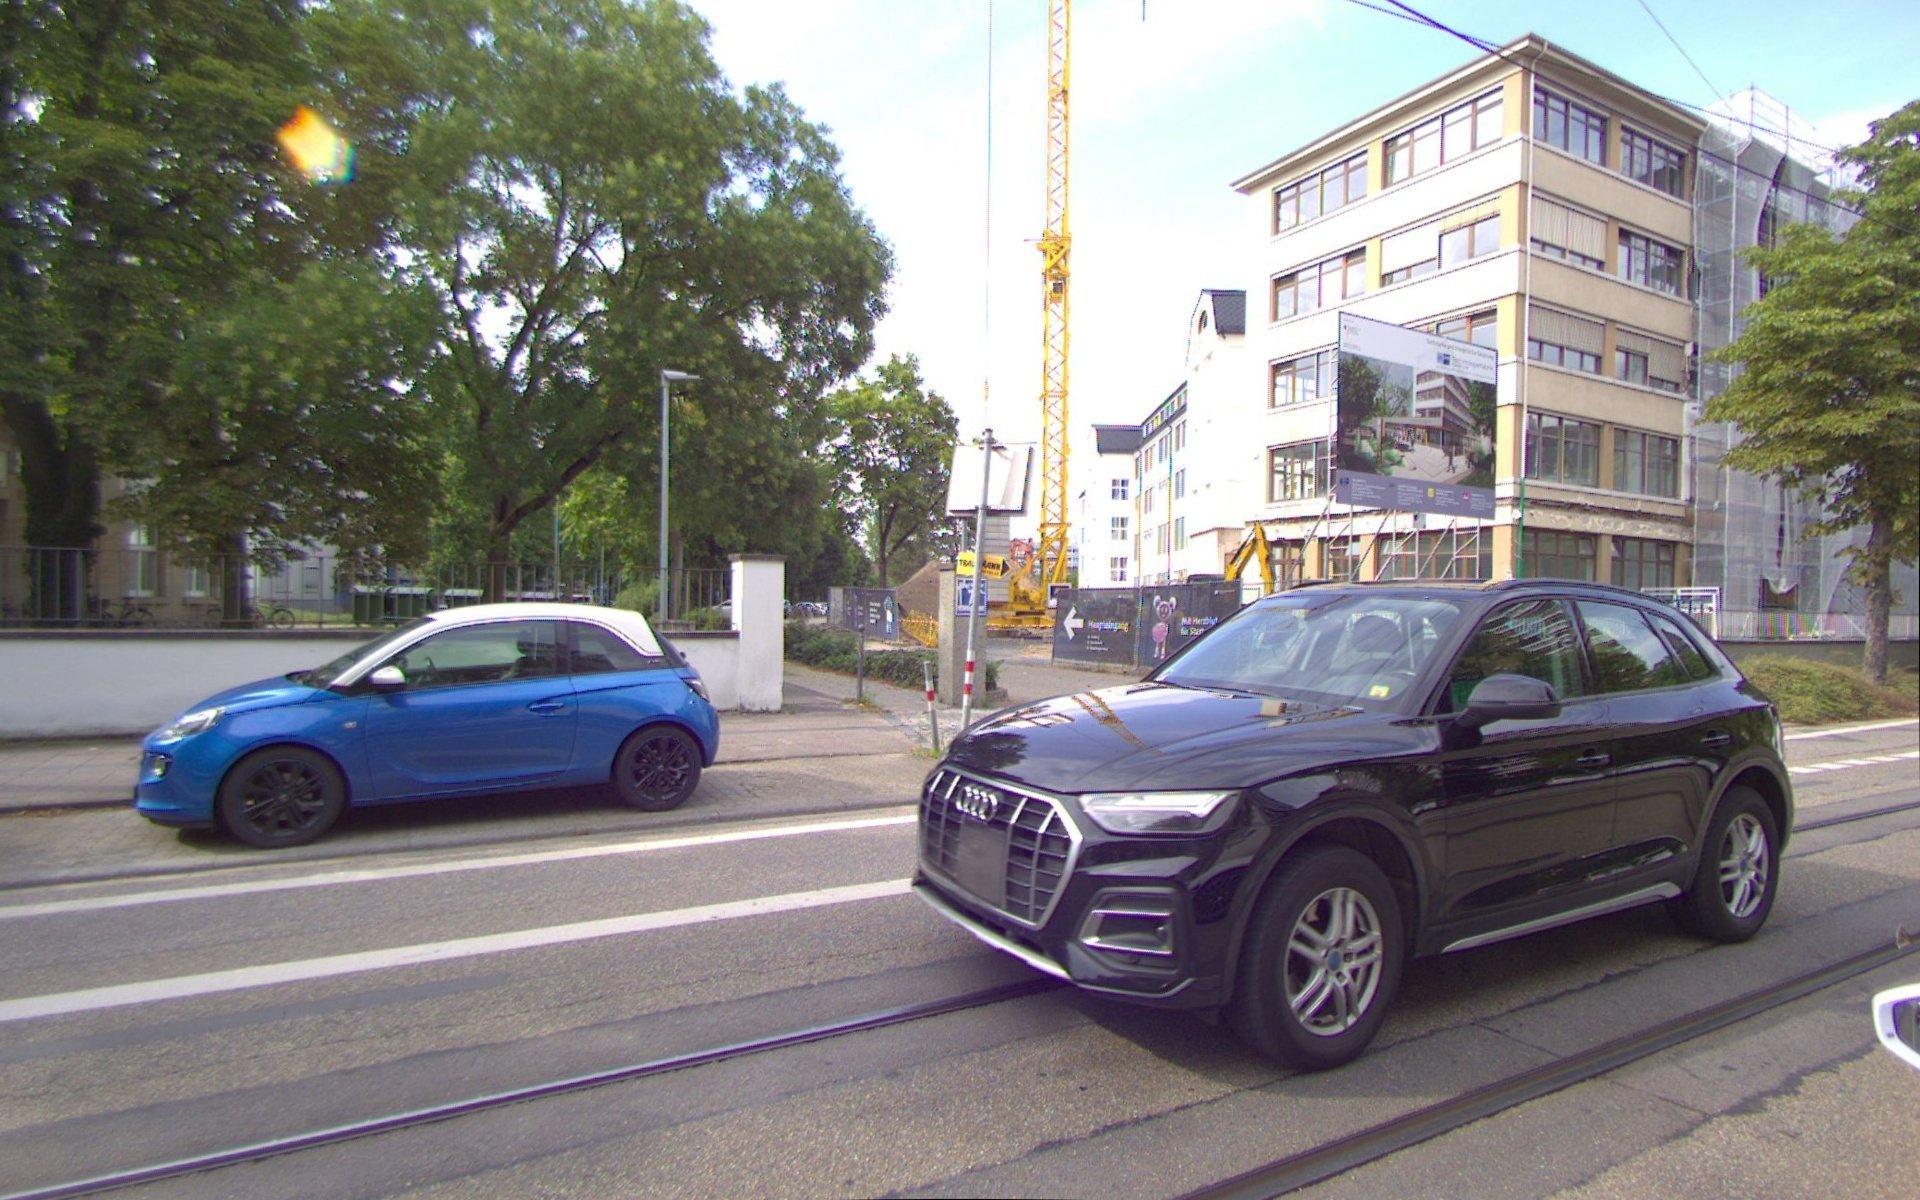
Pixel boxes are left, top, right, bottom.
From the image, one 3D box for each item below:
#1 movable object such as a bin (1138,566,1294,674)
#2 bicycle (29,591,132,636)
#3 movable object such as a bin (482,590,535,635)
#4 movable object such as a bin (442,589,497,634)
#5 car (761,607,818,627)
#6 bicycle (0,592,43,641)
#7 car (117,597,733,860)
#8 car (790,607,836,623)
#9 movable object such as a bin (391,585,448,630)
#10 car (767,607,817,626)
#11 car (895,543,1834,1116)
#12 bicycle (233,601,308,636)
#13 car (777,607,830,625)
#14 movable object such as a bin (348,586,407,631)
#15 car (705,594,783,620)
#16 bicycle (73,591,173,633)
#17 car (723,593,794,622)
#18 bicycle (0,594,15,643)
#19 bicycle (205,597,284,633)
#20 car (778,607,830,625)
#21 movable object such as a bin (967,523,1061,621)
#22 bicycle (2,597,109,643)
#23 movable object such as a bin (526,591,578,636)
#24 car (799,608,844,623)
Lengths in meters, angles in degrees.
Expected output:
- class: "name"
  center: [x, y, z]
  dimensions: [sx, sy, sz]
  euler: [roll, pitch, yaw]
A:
- class: "movable object such as a bin"
  center: [6.281, 0.480, 24.993]
  dimensions: [2.459, 2.475, 3.048]
  euler: [2, 0, -19]
- class: "bicycle"
  center: [-21.946, 0.327, 25.081]
  dimensions: [1.940, 1.057, 0.594]
  euler: [1, 1, -4]
- class: "movable object such as a bin"
  center: [-15.102, 0.422, 33.636]
  dimensions: [1.259, 1.449, 1.122]
  euler: [2, 0, -2]
- class: "movable object such as a bin"
  center: [-16.440, 0.382, 33.709]
  dimensions: [1.259, 1.449, 1.122]
  euler: [2, 0, -2]
- class: "car"
  center: [-14.540, 1.438, 85.993]
  dimensions: [4.719, 1.508, 1.997]
  euler: [2, 0, -8]
- class: "bicycle"
  center: [-21.917, 0.350, 22.599]
  dimensions: [1.940, 1.057, 0.594]
  euler: [1, 1, -4]
- class: "car"
  center: [-3.636, 0.759, 7.309]
  dimensions: [3.560, 1.484, 1.620]
  euler: [1, 0, -30]
- class: "car"
  center: [-15.510, 1.594, 105.877]
  dimensions: [4.719, 1.508, 1.997]
  euler: [2, 0, -8]
- class: "movable object such as a bin"
  center: [-18.013, 0.242, 33.510]
  dimensions: [1.259, 1.449, 1.122]
  euler: [2, 0, -2]
- class: "car"
  center: [-14.786, 1.468, 88.657]
  dimensions: [4.268, 1.564, 1.751]
  euler: [2, 0, -8]
- class: "car"
  center: [2.024, 0.684, 4.728]
  dimensions: [4.282, 1.634, 1.839]
  euler: [1, 0, -30]
- class: "bicycle"
  center: [-22.203, 0.594, 32.355]
  dimensions: [1.940, 1.057, 0.594]
  euler: [1, 1, -4]
- class: "car"
  center: [-14.313, 1.475, 91.979]
  dimensions: [4.719, 1.508, 1.997]
  euler: [2, 0, -8]
- class: "movable object such as a bin"
  center: [-19.376, 0.291, 33.446]
  dimensions: [1.259, 1.449, 1.122]
  euler: [2, 0, -2]
- class: "car"
  center: [-13.831, 0.449, 64.602]
  dimensions: [4.719, 1.508, 1.997]
  euler: [2, 0, -8]
- class: "bicycle"
  center: [-22.347, 0.326, 26.864]
  dimensions: [1.953, 1.057, 0.590]
  euler: [1, 1, -28]
- class: "car"
  center: [-15.182, 0.567, 75.893]
  dimensions: [4.965, 1.979, 1.999]
  euler: [2, 0, -4]
- class: "bicycle"
  center: [-21.834, 0.380, 21.820]
  dimensions: [1.940, 1.057, 0.594]
  euler: [1, 1, -4]
- class: "bicycle"
  center: [-22.081, 0.464, 31.000]
  dimensions: [1.940, 1.057, 0.594]
  euler: [1, 1, -4]
- class: "car"
  center: [-14.697, 1.515, 94.804]
  dimensions: [4.719, 1.508, 1.997]
  euler: [2, 0, -8]
- class: "movable object such as a bin"
  center: [4.253, -1.872, 75.041]
  dimensions: [3.781, 6.758, 10.988]
  euler: [2, 0, 20]
- class: "bicycle"
  center: [-21.860, 0.474, 24.301]
  dimensions: [1.940, 1.057, 0.594]
  euler: [1, 1, -4]
- class: "movable object such as a bin"
  center: [-13.584, 0.457, 33.471]
  dimensions: [1.259, 1.449, 1.122]
  euler: [2, 0, -2]
- class: "car"
  center: [-15.029, 1.640, 108.889]
  dimensions: [4.719, 1.508, 1.997]
  euler: [2, 0, -8]
